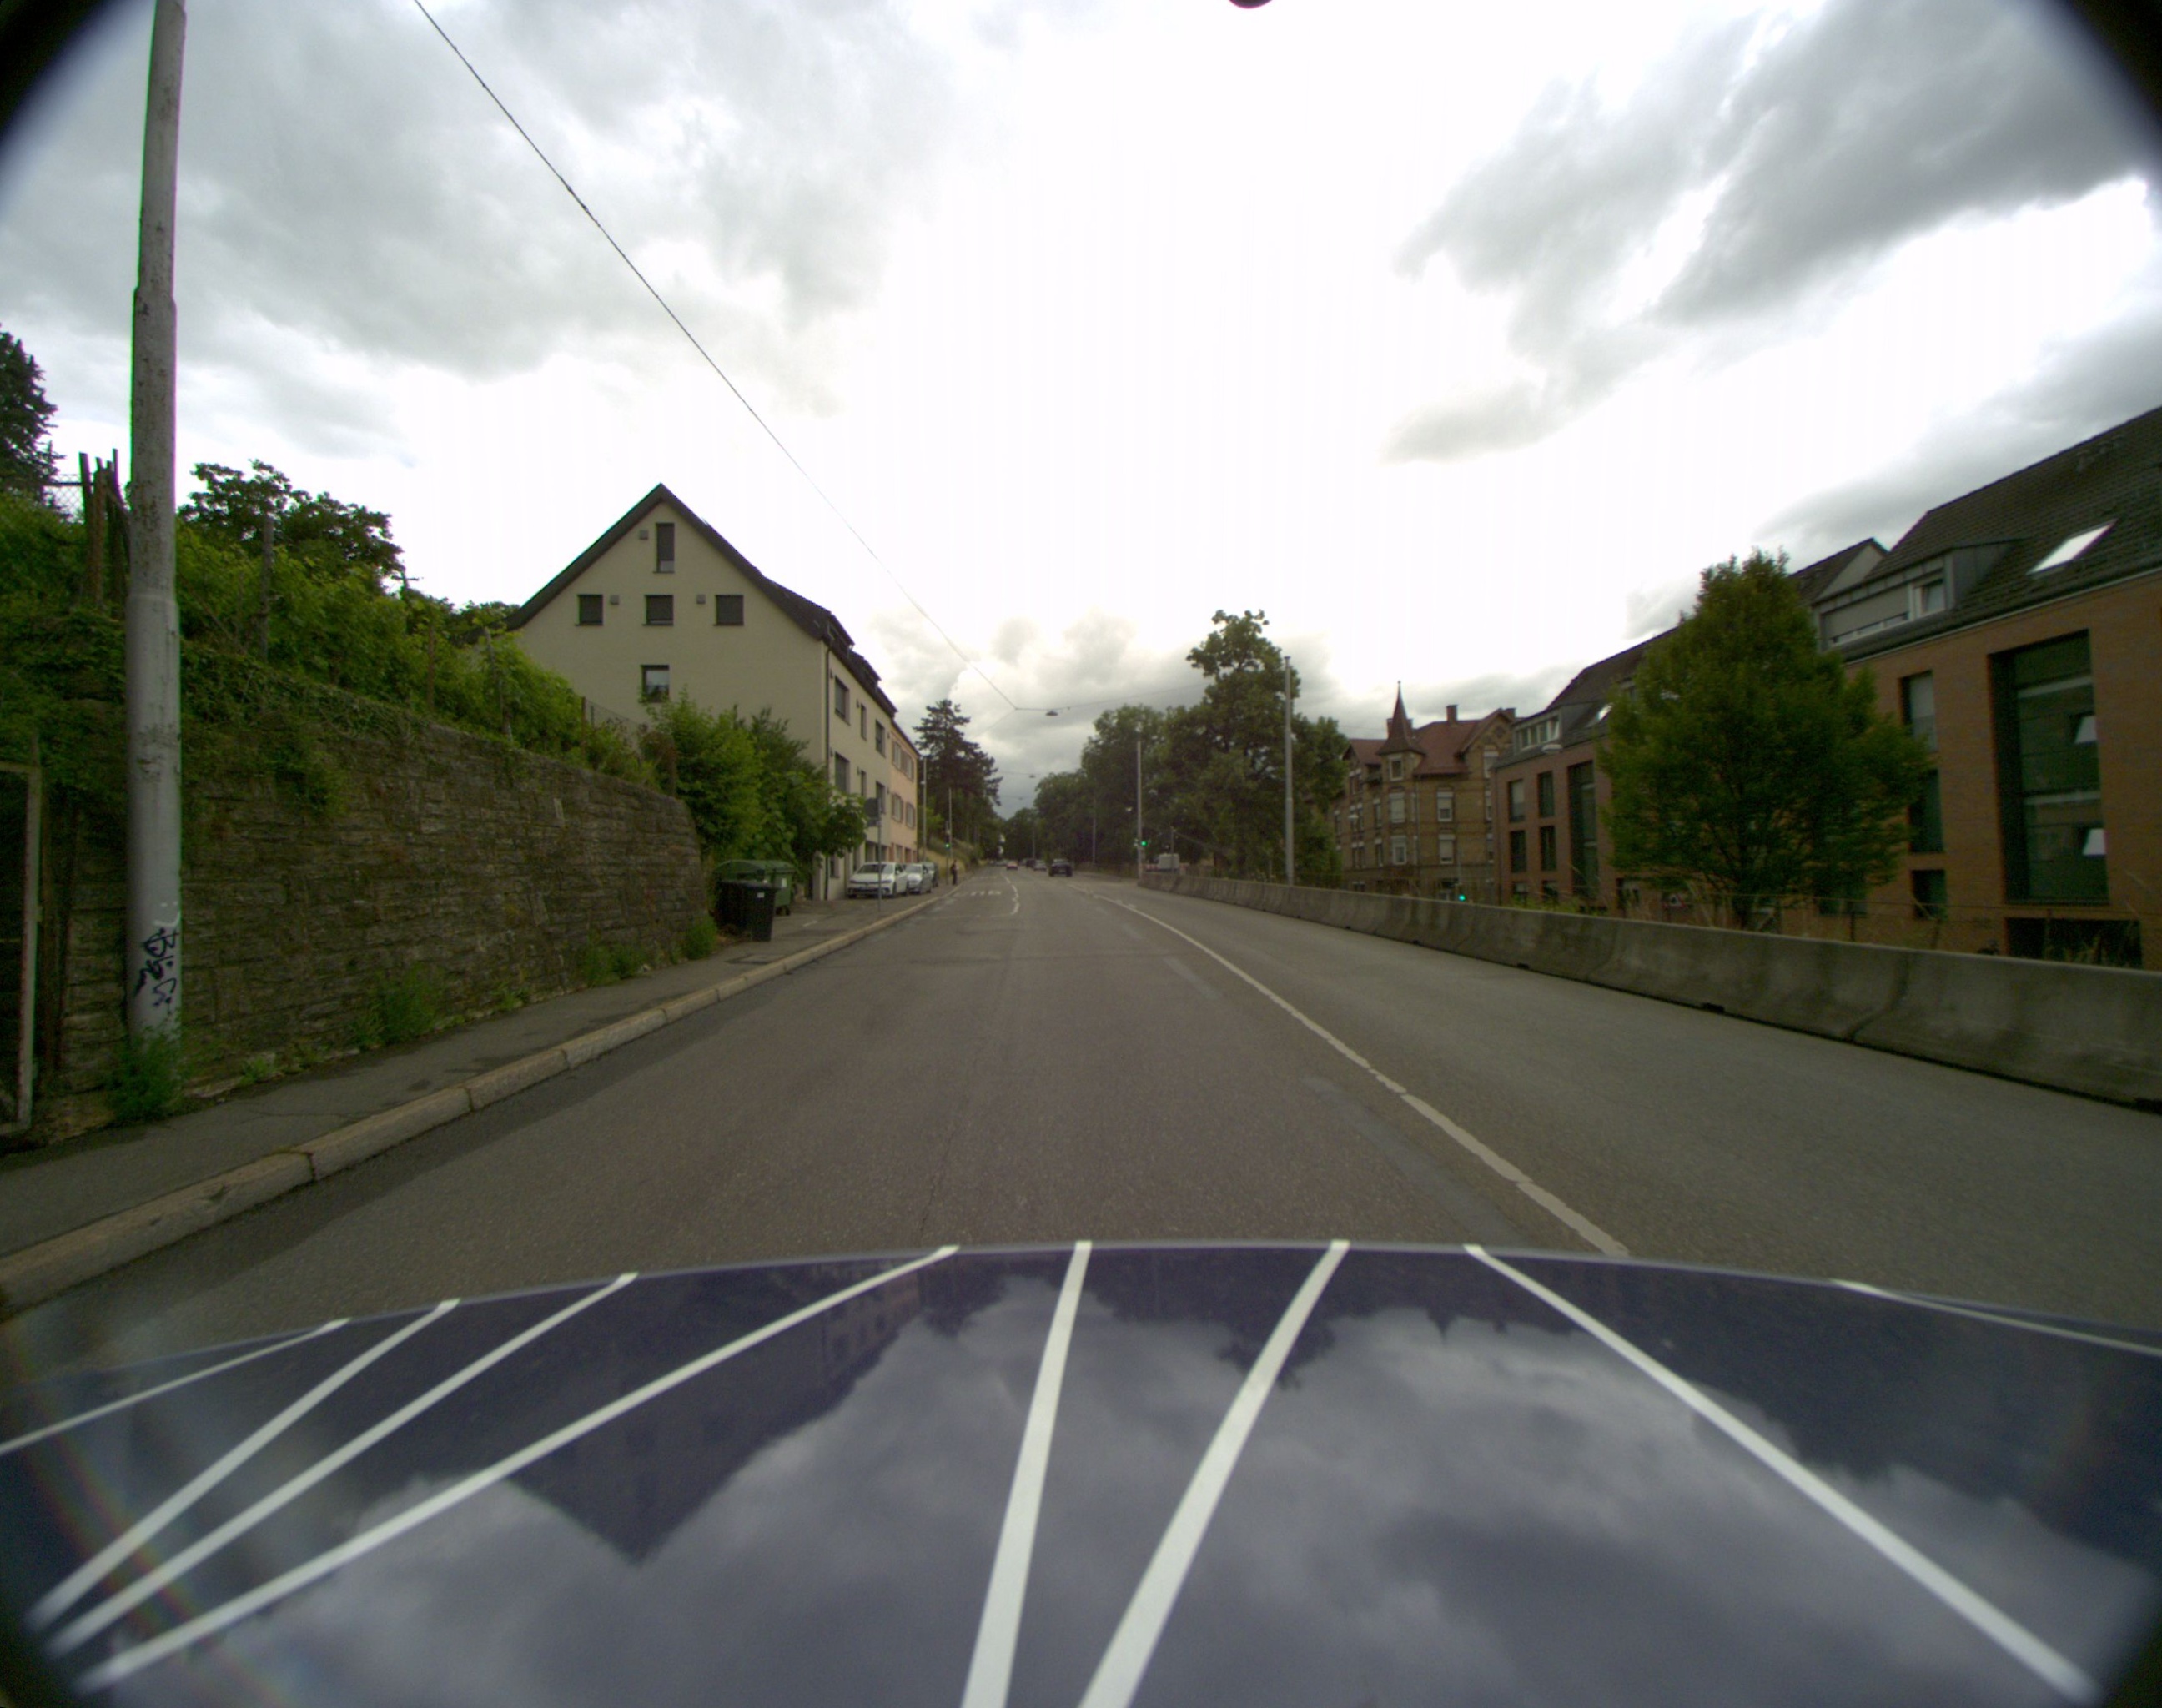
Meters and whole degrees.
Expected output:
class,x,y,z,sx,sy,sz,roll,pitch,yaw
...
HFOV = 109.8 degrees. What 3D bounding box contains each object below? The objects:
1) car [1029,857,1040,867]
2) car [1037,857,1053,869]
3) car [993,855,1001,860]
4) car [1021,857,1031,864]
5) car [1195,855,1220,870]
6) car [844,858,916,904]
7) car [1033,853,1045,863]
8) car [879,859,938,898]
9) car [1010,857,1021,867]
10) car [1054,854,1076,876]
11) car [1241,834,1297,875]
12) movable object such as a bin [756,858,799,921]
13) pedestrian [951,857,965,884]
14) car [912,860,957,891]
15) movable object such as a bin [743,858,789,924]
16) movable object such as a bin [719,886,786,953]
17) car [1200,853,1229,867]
class,x,y,z,sx,sy,sz,roll,pitch,yaw
car,-8.970,1.501,146.197,1.999,1.838,3.999,-1,0,-3
car,-5.101,1.245,108.417,1.998,1.652,4.000,-1,0,1
car,-24.270,1.080,220.113,1.999,1.455,3.999,-2,0,-1
car,-13.656,1.652,188.158,1.998,1.521,4.000,-1,0,1
car,13.843,0.889,83.196,1.999,1.543,4.000,-1,0,0
car,-7.891,1.019,30.232,1.799,1.566,4.055,-2,1,-1
car,-7.436,0.636,134.324,1.999,1.652,3.998,-2,1,-4
car,-7.852,1.080,34.956,1.732,1.566,4.248,-2,1,-1
car,-10.151,1.235,118.210,1.646,1.429,3.999,-1,-1,-3
car,-1.506,0.999,69.683,1.787,1.871,3.998,-1,0,-4
car,12.829,0.018,52.328,2.565,2.567,5.736,-2,1,2
movable object such as a bin,-7.788,0.899,19.549,0.753,1.533,1.064,-1,1,-8
pedestrian,-7.927,1.064,49.160,0.735,1.702,0.696,-1,0,2
car,-8.329,1.187,43.487,1.909,1.566,4.247,-2,1,-3
movable object such as a bin,-7.637,0.878,18.452,0.753,1.537,1.064,-1,0,-8
movable object such as a bin,-5.865,1.154,13.619,0.811,1.120,0.874,-1,0,-2
car,12.426,0.555,71.124,1.999,1.346,4.000,0,0,0
